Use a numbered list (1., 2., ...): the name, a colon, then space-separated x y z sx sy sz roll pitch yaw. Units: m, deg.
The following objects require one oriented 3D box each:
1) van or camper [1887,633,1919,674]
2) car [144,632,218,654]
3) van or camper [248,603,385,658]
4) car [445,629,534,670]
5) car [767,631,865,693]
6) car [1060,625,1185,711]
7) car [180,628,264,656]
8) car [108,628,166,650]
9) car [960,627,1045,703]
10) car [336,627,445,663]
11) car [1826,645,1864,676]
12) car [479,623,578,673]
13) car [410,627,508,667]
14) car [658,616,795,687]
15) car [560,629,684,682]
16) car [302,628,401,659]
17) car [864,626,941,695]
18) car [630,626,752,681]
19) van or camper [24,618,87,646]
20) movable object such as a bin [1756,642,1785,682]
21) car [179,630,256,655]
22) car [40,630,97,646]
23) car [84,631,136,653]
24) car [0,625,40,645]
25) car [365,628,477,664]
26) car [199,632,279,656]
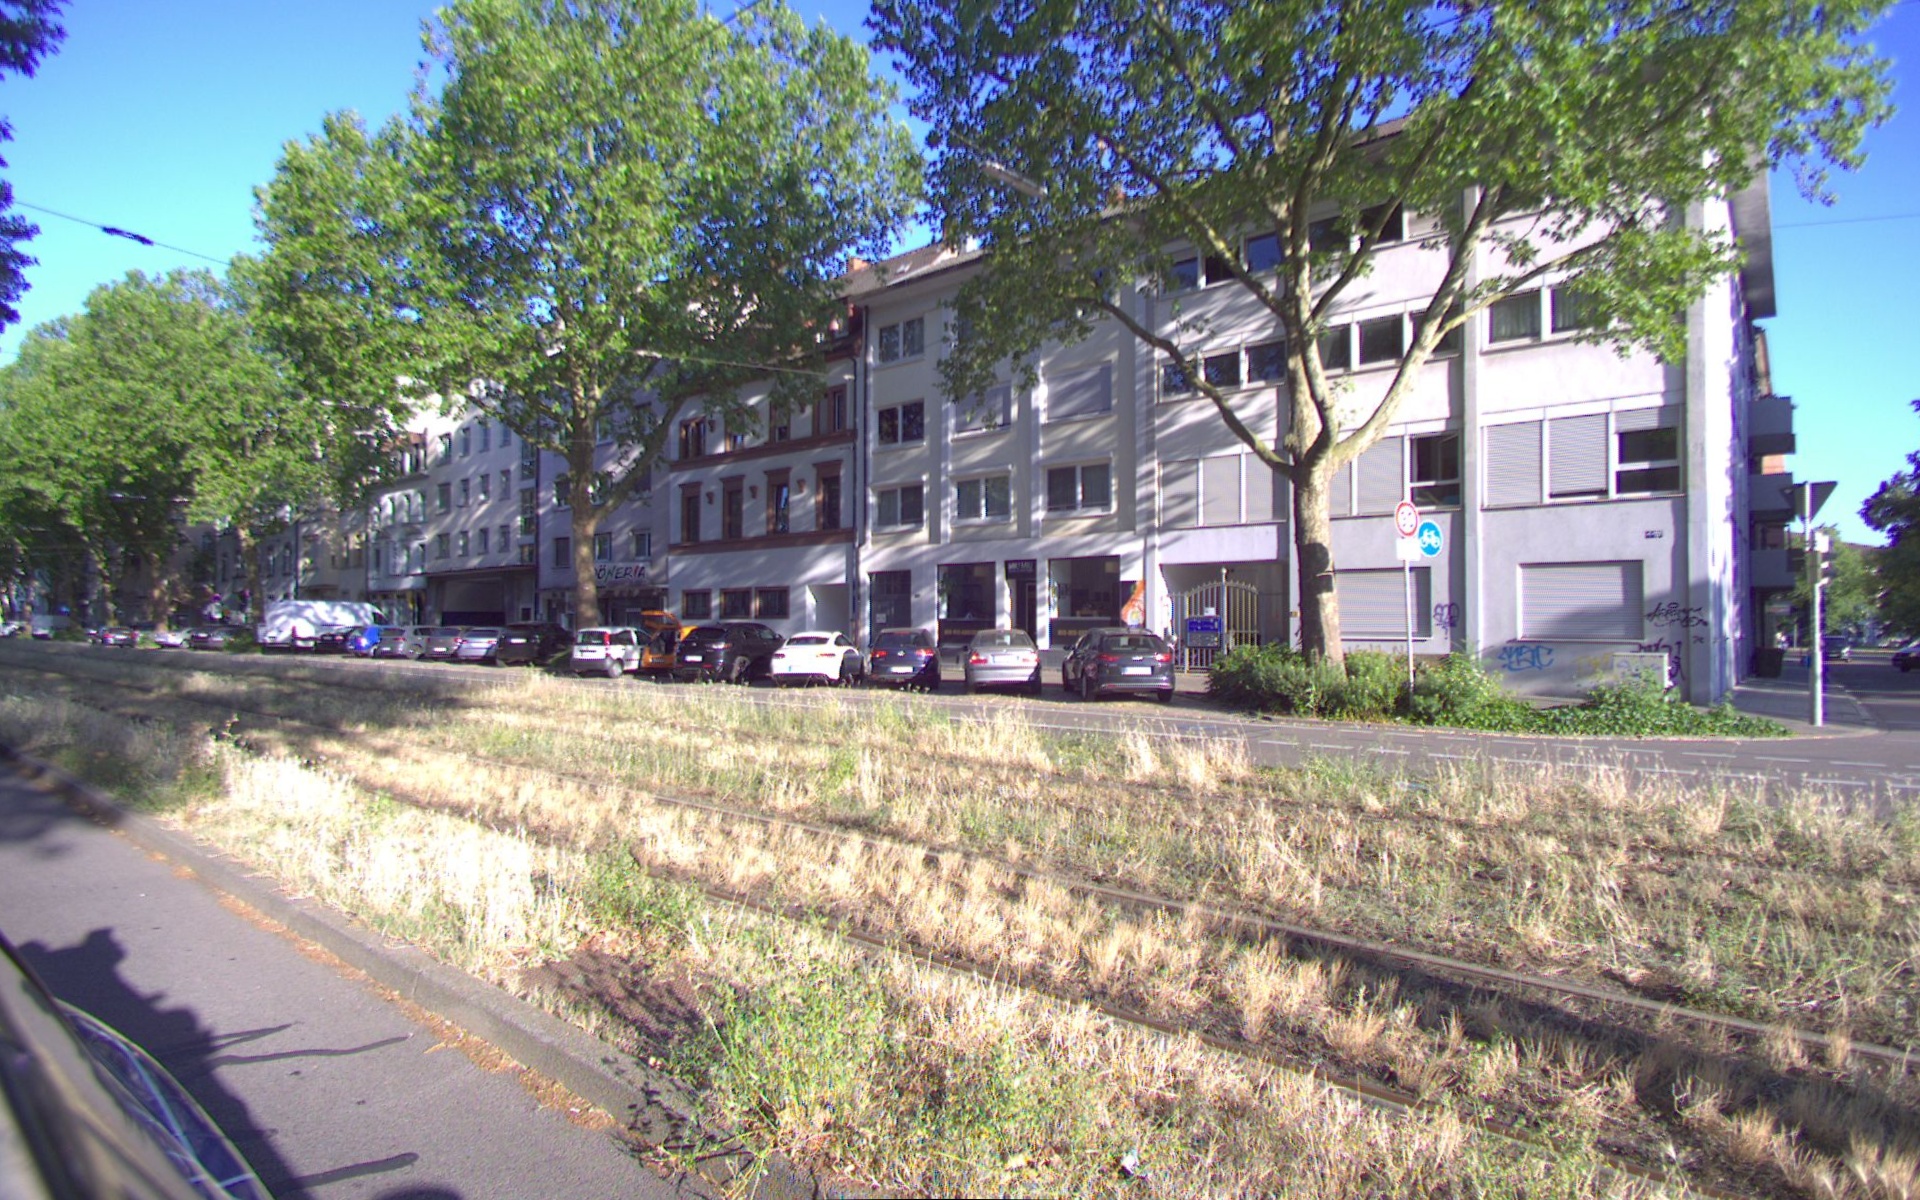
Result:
1. van or camper: 50.182 2.671 50.729 5.080 2.029 1.993 0 -2 11
2. car: -51.792 2.825 67.341 1.806 1.400 3.670 0 -2 9
3. van or camper: -33.115 1.592 52.368 2.162 2.666 5.929 -1 -2 19
4. car: -18.302 1.885 39.561 1.883 1.396 4.004 -1 -1 -5
5. car: -3.698 1.577 26.689 1.700 1.343 4.200 -1 0 4
6. car: 3.292 1.341 21.290 1.791 1.490 4.002 -1 0 -2
7. car: -45.535 2.605 62.547 1.912 1.605 4.155 0 -4 4
8. car: -63.516 3.031 78.206 1.703 1.666 4.008 0 -2 -10
9. car: 0.896 1.426 23.279 1.698 1.452 4.000 -1 0 -1
10. car: -25.933 2.010 46.165 1.854 1.431 3.951 -1 0 36
11. car: 63.354 4.299 72.470 1.999 2.029 3.945 -1 -2 41
12. car: -15.685 1.717 37.018 1.972 1.673 4.000 -1 -1 -1
13. car: -20.542 1.909 41.670 1.735 1.433 3.993 -1 0 6
14. car: -6.463 1.465 28.607 1.975 1.800 4.343 1 -3 14
15. car: -10.467 1.691 31.697 1.643 1.460 4.345 0 -1 14
16. car: -30.750 2.210 51.253 1.984 1.502 3.975 -1 -2 18
17. car: -1.445 1.464 25.684 1.776 1.452 4.002 -1 0 -3
18. car: -8.365 1.624 31.796 1.764 1.490 3.974 -1 0 20
19. van or camper: -88.330 3.084 98.890 2.171 2.418 4.364 -1 1 0
20. movable object such as a bin: 27.821 2.116 34.744 0.745 1.315 0.861 -1 -2 39
21. car: -47.735 2.782 65.175 1.803 1.545 3.994 0 -3 4
22. car: -86.024 3.620 97.687 1.709 1.256 3.993 -1 1 6
23. car: -56.599 2.791 67.344 4.480 1.400 1.802 -1 -4 40
24. car: -107.389 3.974 115.152 1.971 2.029 4.002 -1 0 -2
25. car: -23.606 1.994 44.437 1.941 1.503 3.964 -1 -2 27
26. car: -43.007 2.635 60.446 1.778 1.368 4.002 0 -3 3
